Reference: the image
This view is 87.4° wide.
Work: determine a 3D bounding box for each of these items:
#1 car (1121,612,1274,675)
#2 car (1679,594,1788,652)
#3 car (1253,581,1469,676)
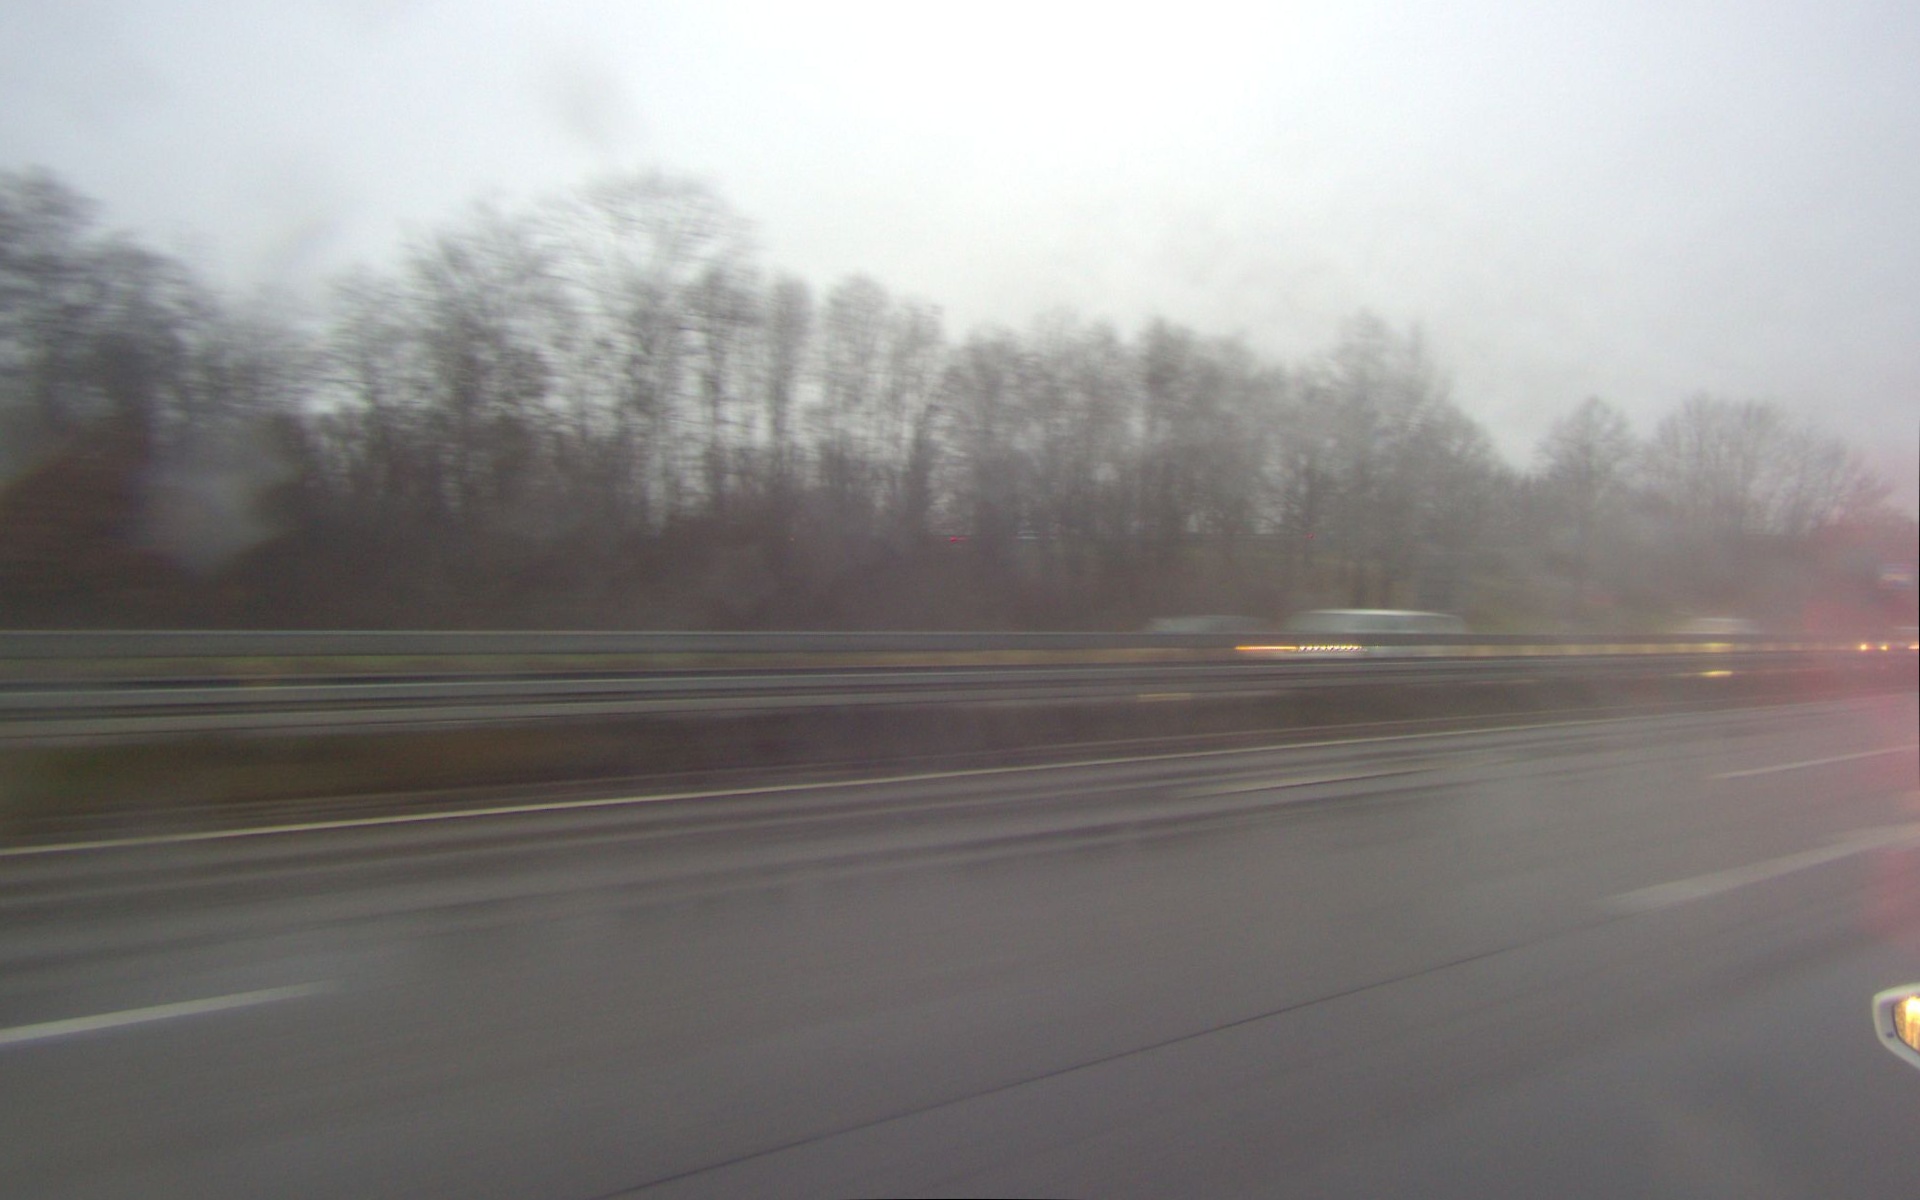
[{"bbox_3d":[6.667,1.228,28.078,4.155,1.657,1.675,2,-2,-30],"label":"car"},{"bbox_3d":[30.363,0.923,39.430,3.953,2.040,1.984,3,0,-30],"label":"car"},{"bbox_3d":[8.415,0.618,20.997,4.331,1.706,1.865,3,2,-31],"label":"car"}]
